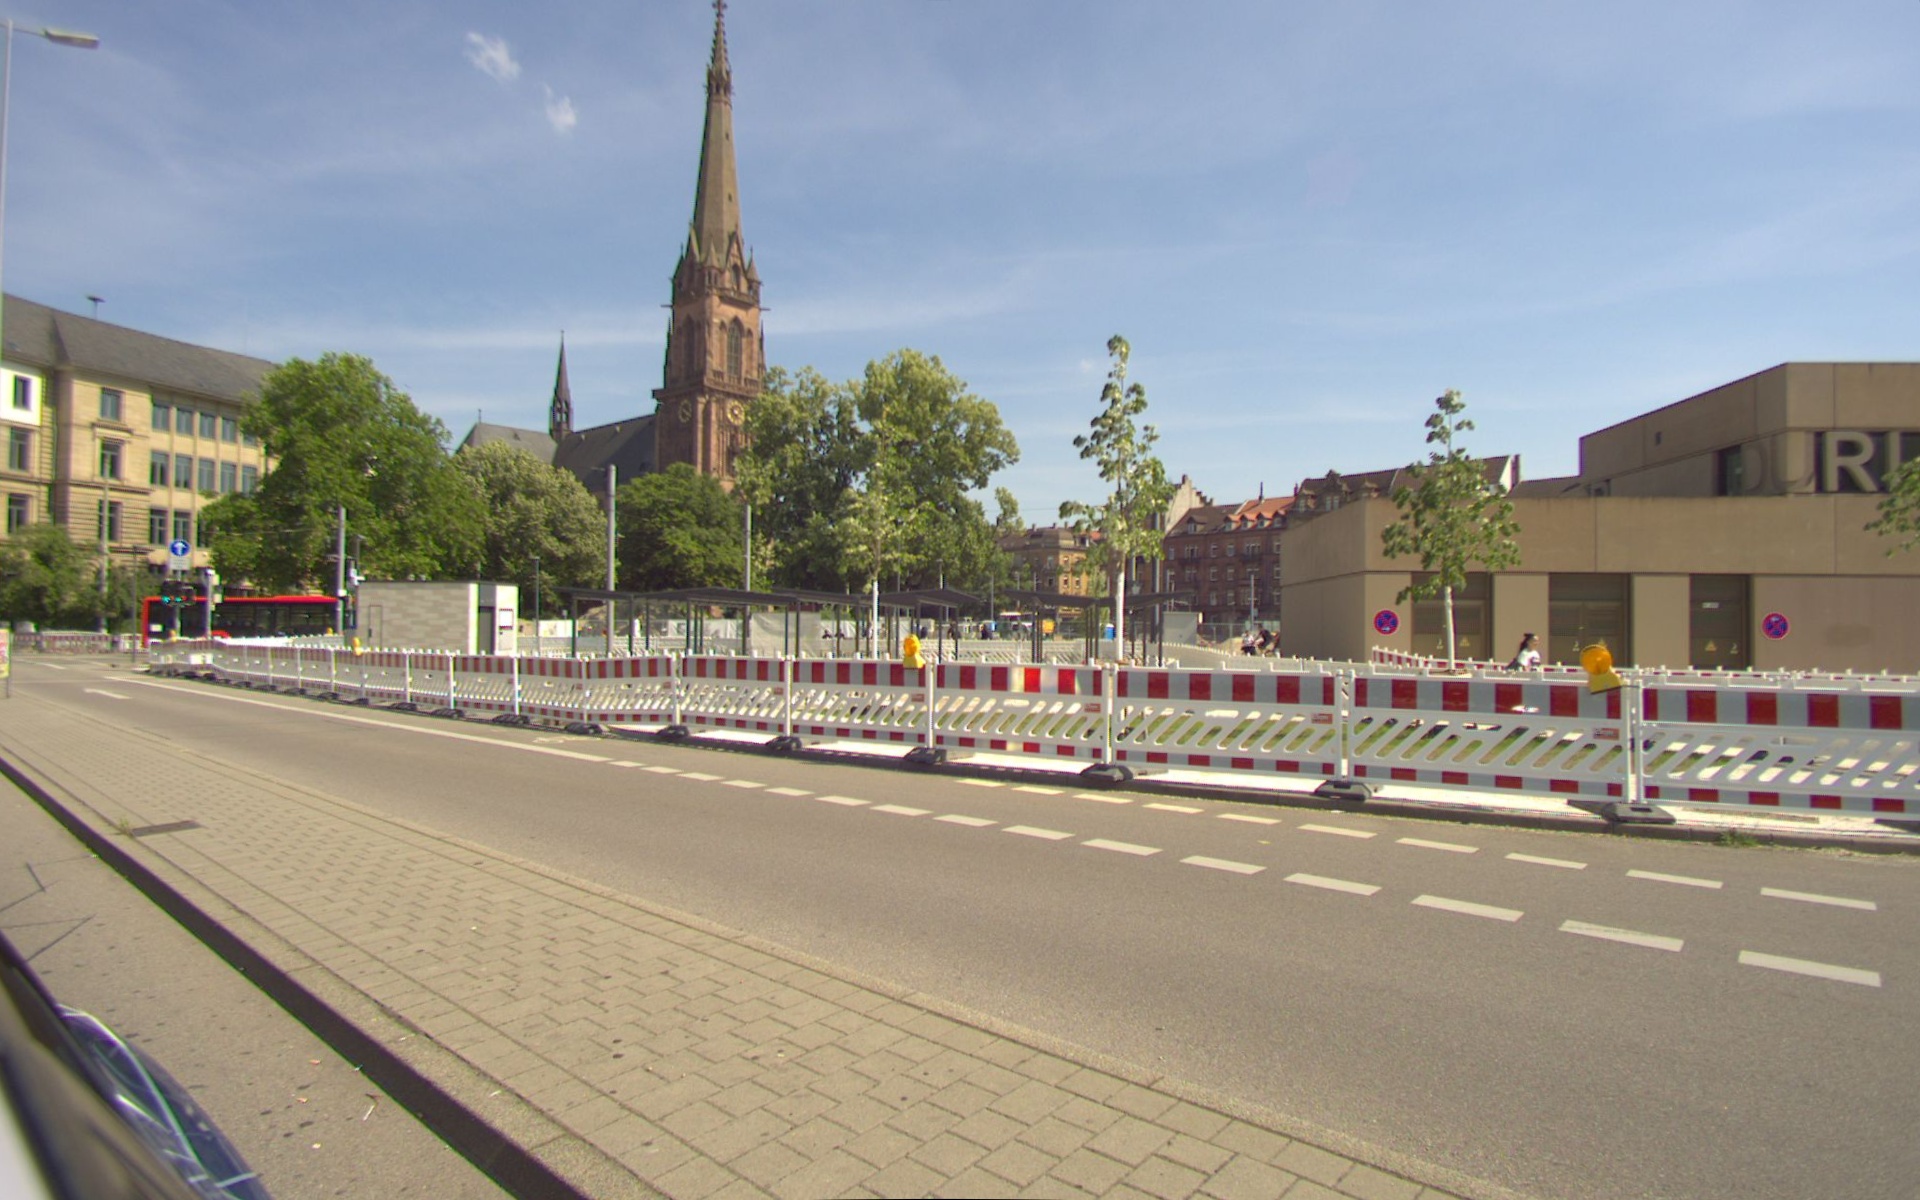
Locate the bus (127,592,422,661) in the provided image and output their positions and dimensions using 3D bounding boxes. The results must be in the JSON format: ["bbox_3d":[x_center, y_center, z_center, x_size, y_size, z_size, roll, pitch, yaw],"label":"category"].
[{"bbox_3d":[-34.905,1.269,52.200,12.203,3.117,3.142,-1,0,-15],"label":"bus"}]

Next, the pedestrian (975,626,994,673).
[{"bbox_3d":[1.078,2.183,44.569,0.680,2.029,0.816,0,-2,16],"label":"pedestrian"}]

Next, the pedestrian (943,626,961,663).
[{"bbox_3d":[-0.385,2.046,46.847,0.733,1.674,0.822,1,-2,-7],"label":"pedestrian"}]

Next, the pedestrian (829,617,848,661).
[{"bbox_3d":[-5.624,1.804,46.834,0.679,2.029,0.818,0,-2,10],"label":"pedestrian"}]

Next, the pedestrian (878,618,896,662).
[{"bbox_3d":[-3.446,1.878,47.760,0.679,2.029,0.818,0,-2,10],"label":"pedestrian"}]

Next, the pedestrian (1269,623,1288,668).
[{"bbox_3d":[14.636,2.098,46.537,0.722,2.029,0.581,0,-2,5],"label":"pedestrian"}]

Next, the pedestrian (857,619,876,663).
[{"bbox_3d":[-4.368,1.914,47.545,0.679,2.029,0.818,0,-2,10],"label":"pedestrian"}]

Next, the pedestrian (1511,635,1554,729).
[{"bbox_3d":[9.880,1.396,17.459,0.549,1.576,0.425,2,-2,-32],"label":"pedestrian"}]

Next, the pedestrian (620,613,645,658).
[{"bbox_3d":[-15.101,1.648,46.691,0.686,2.029,0.809,-2,-3,43],"label":"pedestrian"}]
